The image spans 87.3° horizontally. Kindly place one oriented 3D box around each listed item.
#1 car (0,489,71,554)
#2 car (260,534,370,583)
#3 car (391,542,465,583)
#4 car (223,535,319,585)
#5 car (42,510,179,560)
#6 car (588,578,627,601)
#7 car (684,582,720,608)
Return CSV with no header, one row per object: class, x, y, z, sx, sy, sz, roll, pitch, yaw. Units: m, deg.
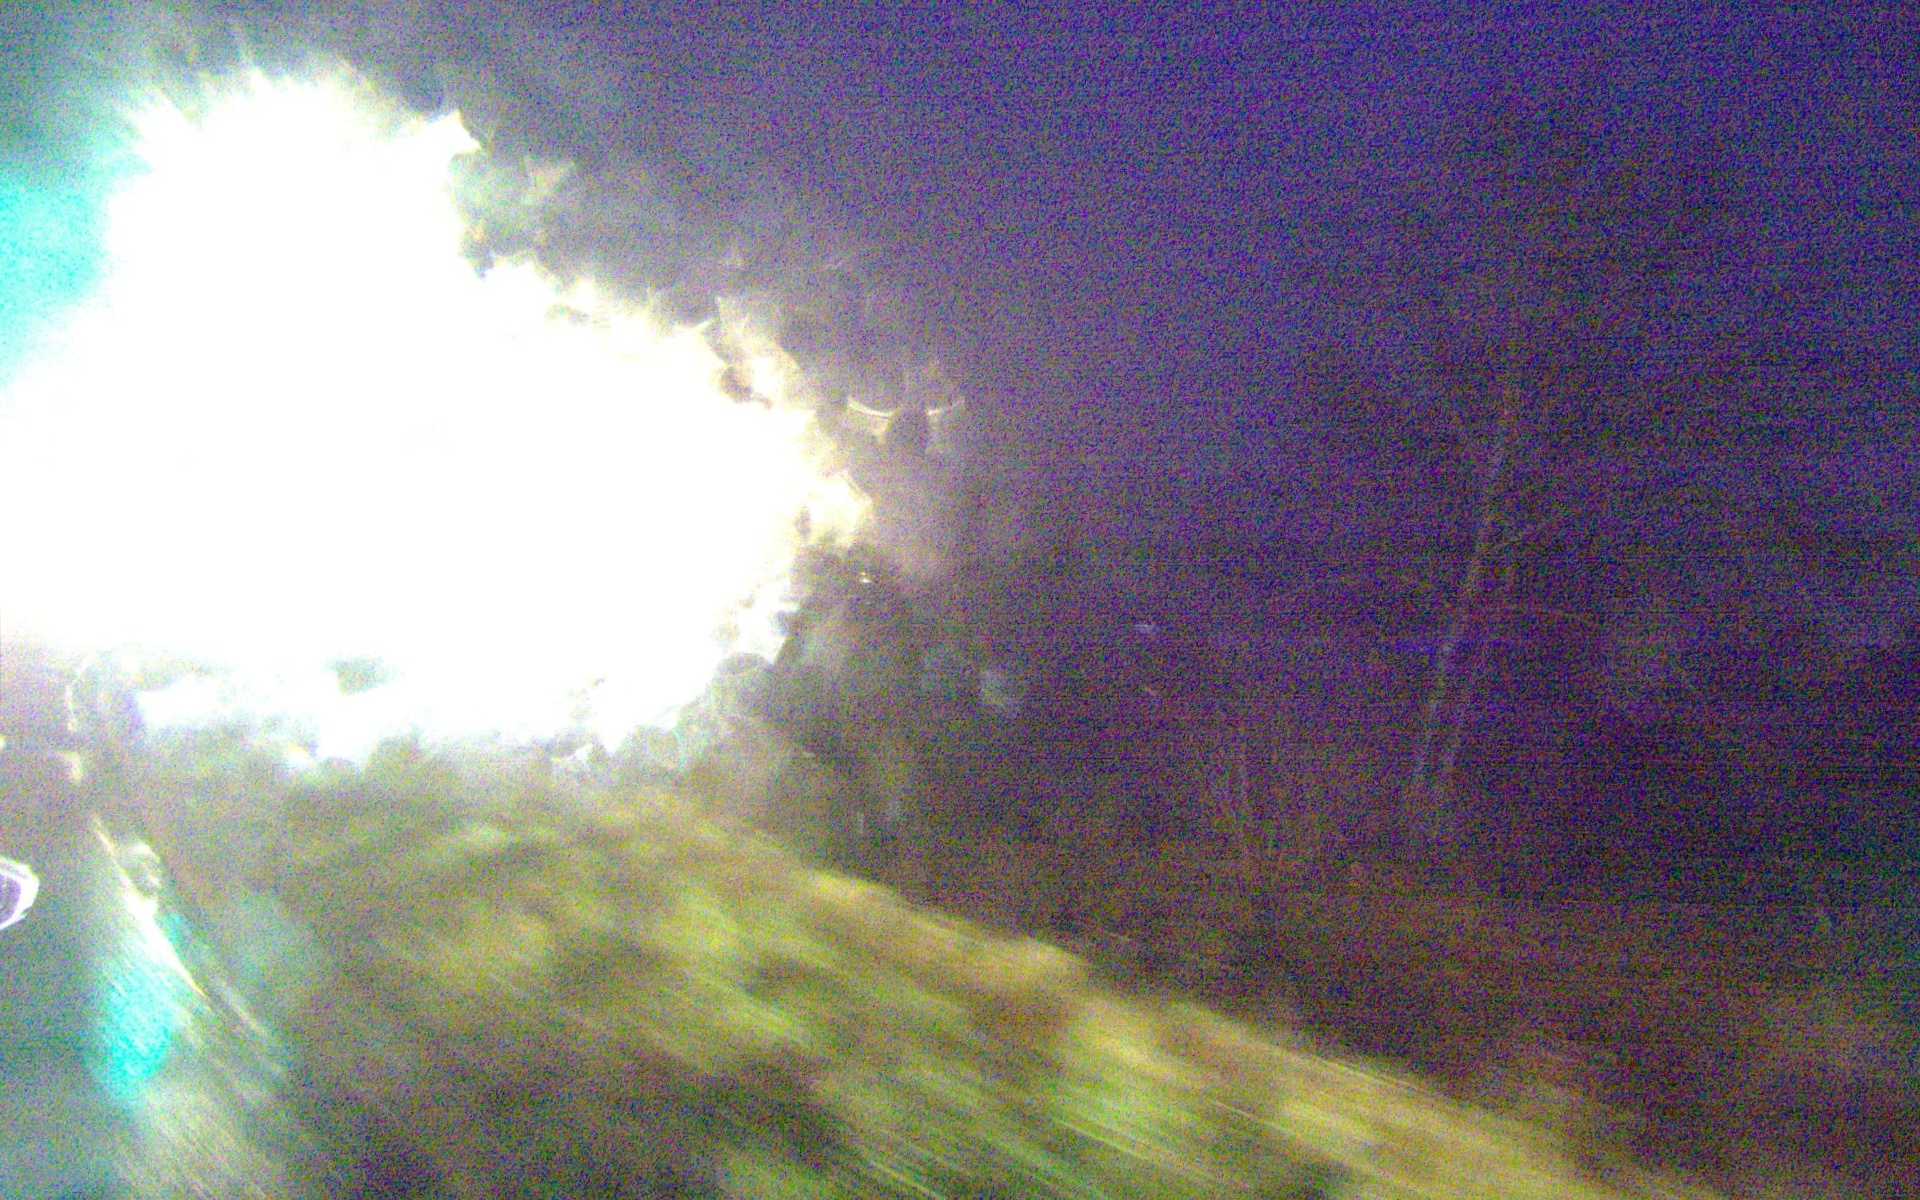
car,-25.289,-2.178,25.339,1.750,1.501,4.412,8,-1,-1
car,-26.513,-1.654,41.514,1.785,1.597,4.305,6,-1,-3
car,-29.974,-2.051,56.802,1.772,1.684,4.491,8,-3,-2
car,-33.670,-1.910,49.302,1.796,1.869,4.003,7,-3,-2
car,-32.131,-2.427,38.221,1.733,1.393,4.039,7,-1,-2
car,-31.406,-0.907,89.769,1.855,1.547,4.435,8,-3,-2
car,-22.307,-0.430,87.022,2.148,1.617,4.001,11,-4,-5
